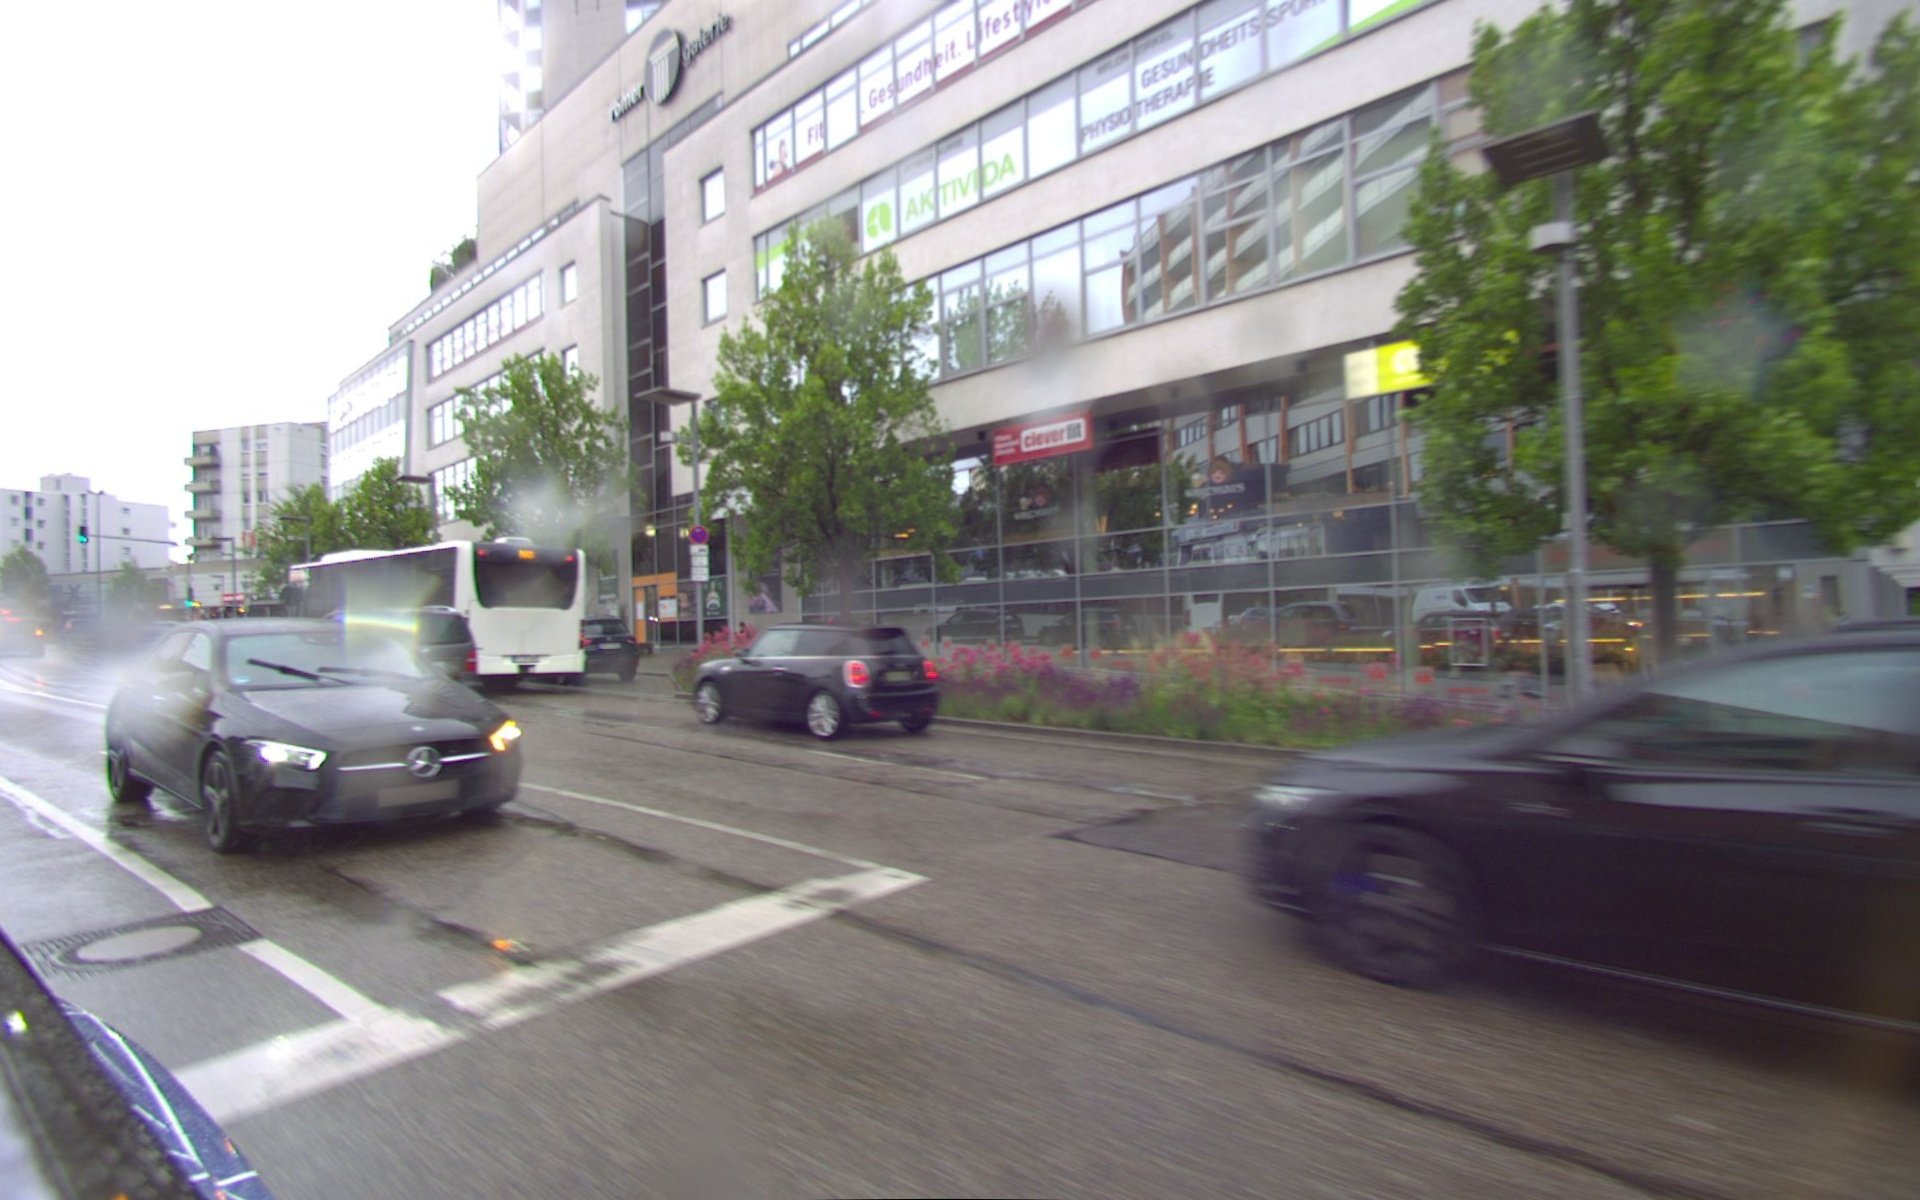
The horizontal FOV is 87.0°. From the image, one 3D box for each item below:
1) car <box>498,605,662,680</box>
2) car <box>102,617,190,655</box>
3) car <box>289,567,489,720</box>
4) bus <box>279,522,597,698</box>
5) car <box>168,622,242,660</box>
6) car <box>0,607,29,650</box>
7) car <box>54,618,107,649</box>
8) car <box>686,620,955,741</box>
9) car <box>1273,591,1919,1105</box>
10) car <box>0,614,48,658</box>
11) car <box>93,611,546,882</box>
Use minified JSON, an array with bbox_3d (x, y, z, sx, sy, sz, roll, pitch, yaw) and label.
[{"bbox_3d":[-8.897,0.924,23.572,3.999,1.608,1.972,0,-1,42],"label":"car"},{"bbox_3d":[-28.993,1.239,36.021,4.195,1.266,1.875,0,-1,43],"label":"car"},{"bbox_3d":[-8.869,0.604,15.555,1.615,2.029,4.287,1,-1,-45],"label":"car"},{"bbox_3d":[-12.498,0.228,23.268,12.003,3.123,2.859,0,-1,44],"label":"bus"},{"bbox_3d":[-29.774,1.593,39.847,4.707,1.356,1.613,0,-2,45],"label":"car"},{"bbox_3d":[-42.324,1.225,44.330,3.999,1.804,1.842,0,-3,42],"label":"car"},{"bbox_3d":[-40.725,1.537,46.866,3.283,1.386,1.547,0,-2,44],"label":"car"},{"bbox_3d":[-1.924,0.948,13.311,3.602,1.348,1.622,0,-1,44],"label":"car"},{"bbox_3d":[3.470,0.708,3.321,4.382,1.445,1.738,0,-1,45],"label":"car"},{"bbox_3d":[-34.852,1.276,37.127,4.391,1.528,1.688,0,-1,43],"label":"car"},{"bbox_3d":[-4.921,0.822,7.523,4.196,1.461,1.697,0,-1,41],"label":"car"}]
